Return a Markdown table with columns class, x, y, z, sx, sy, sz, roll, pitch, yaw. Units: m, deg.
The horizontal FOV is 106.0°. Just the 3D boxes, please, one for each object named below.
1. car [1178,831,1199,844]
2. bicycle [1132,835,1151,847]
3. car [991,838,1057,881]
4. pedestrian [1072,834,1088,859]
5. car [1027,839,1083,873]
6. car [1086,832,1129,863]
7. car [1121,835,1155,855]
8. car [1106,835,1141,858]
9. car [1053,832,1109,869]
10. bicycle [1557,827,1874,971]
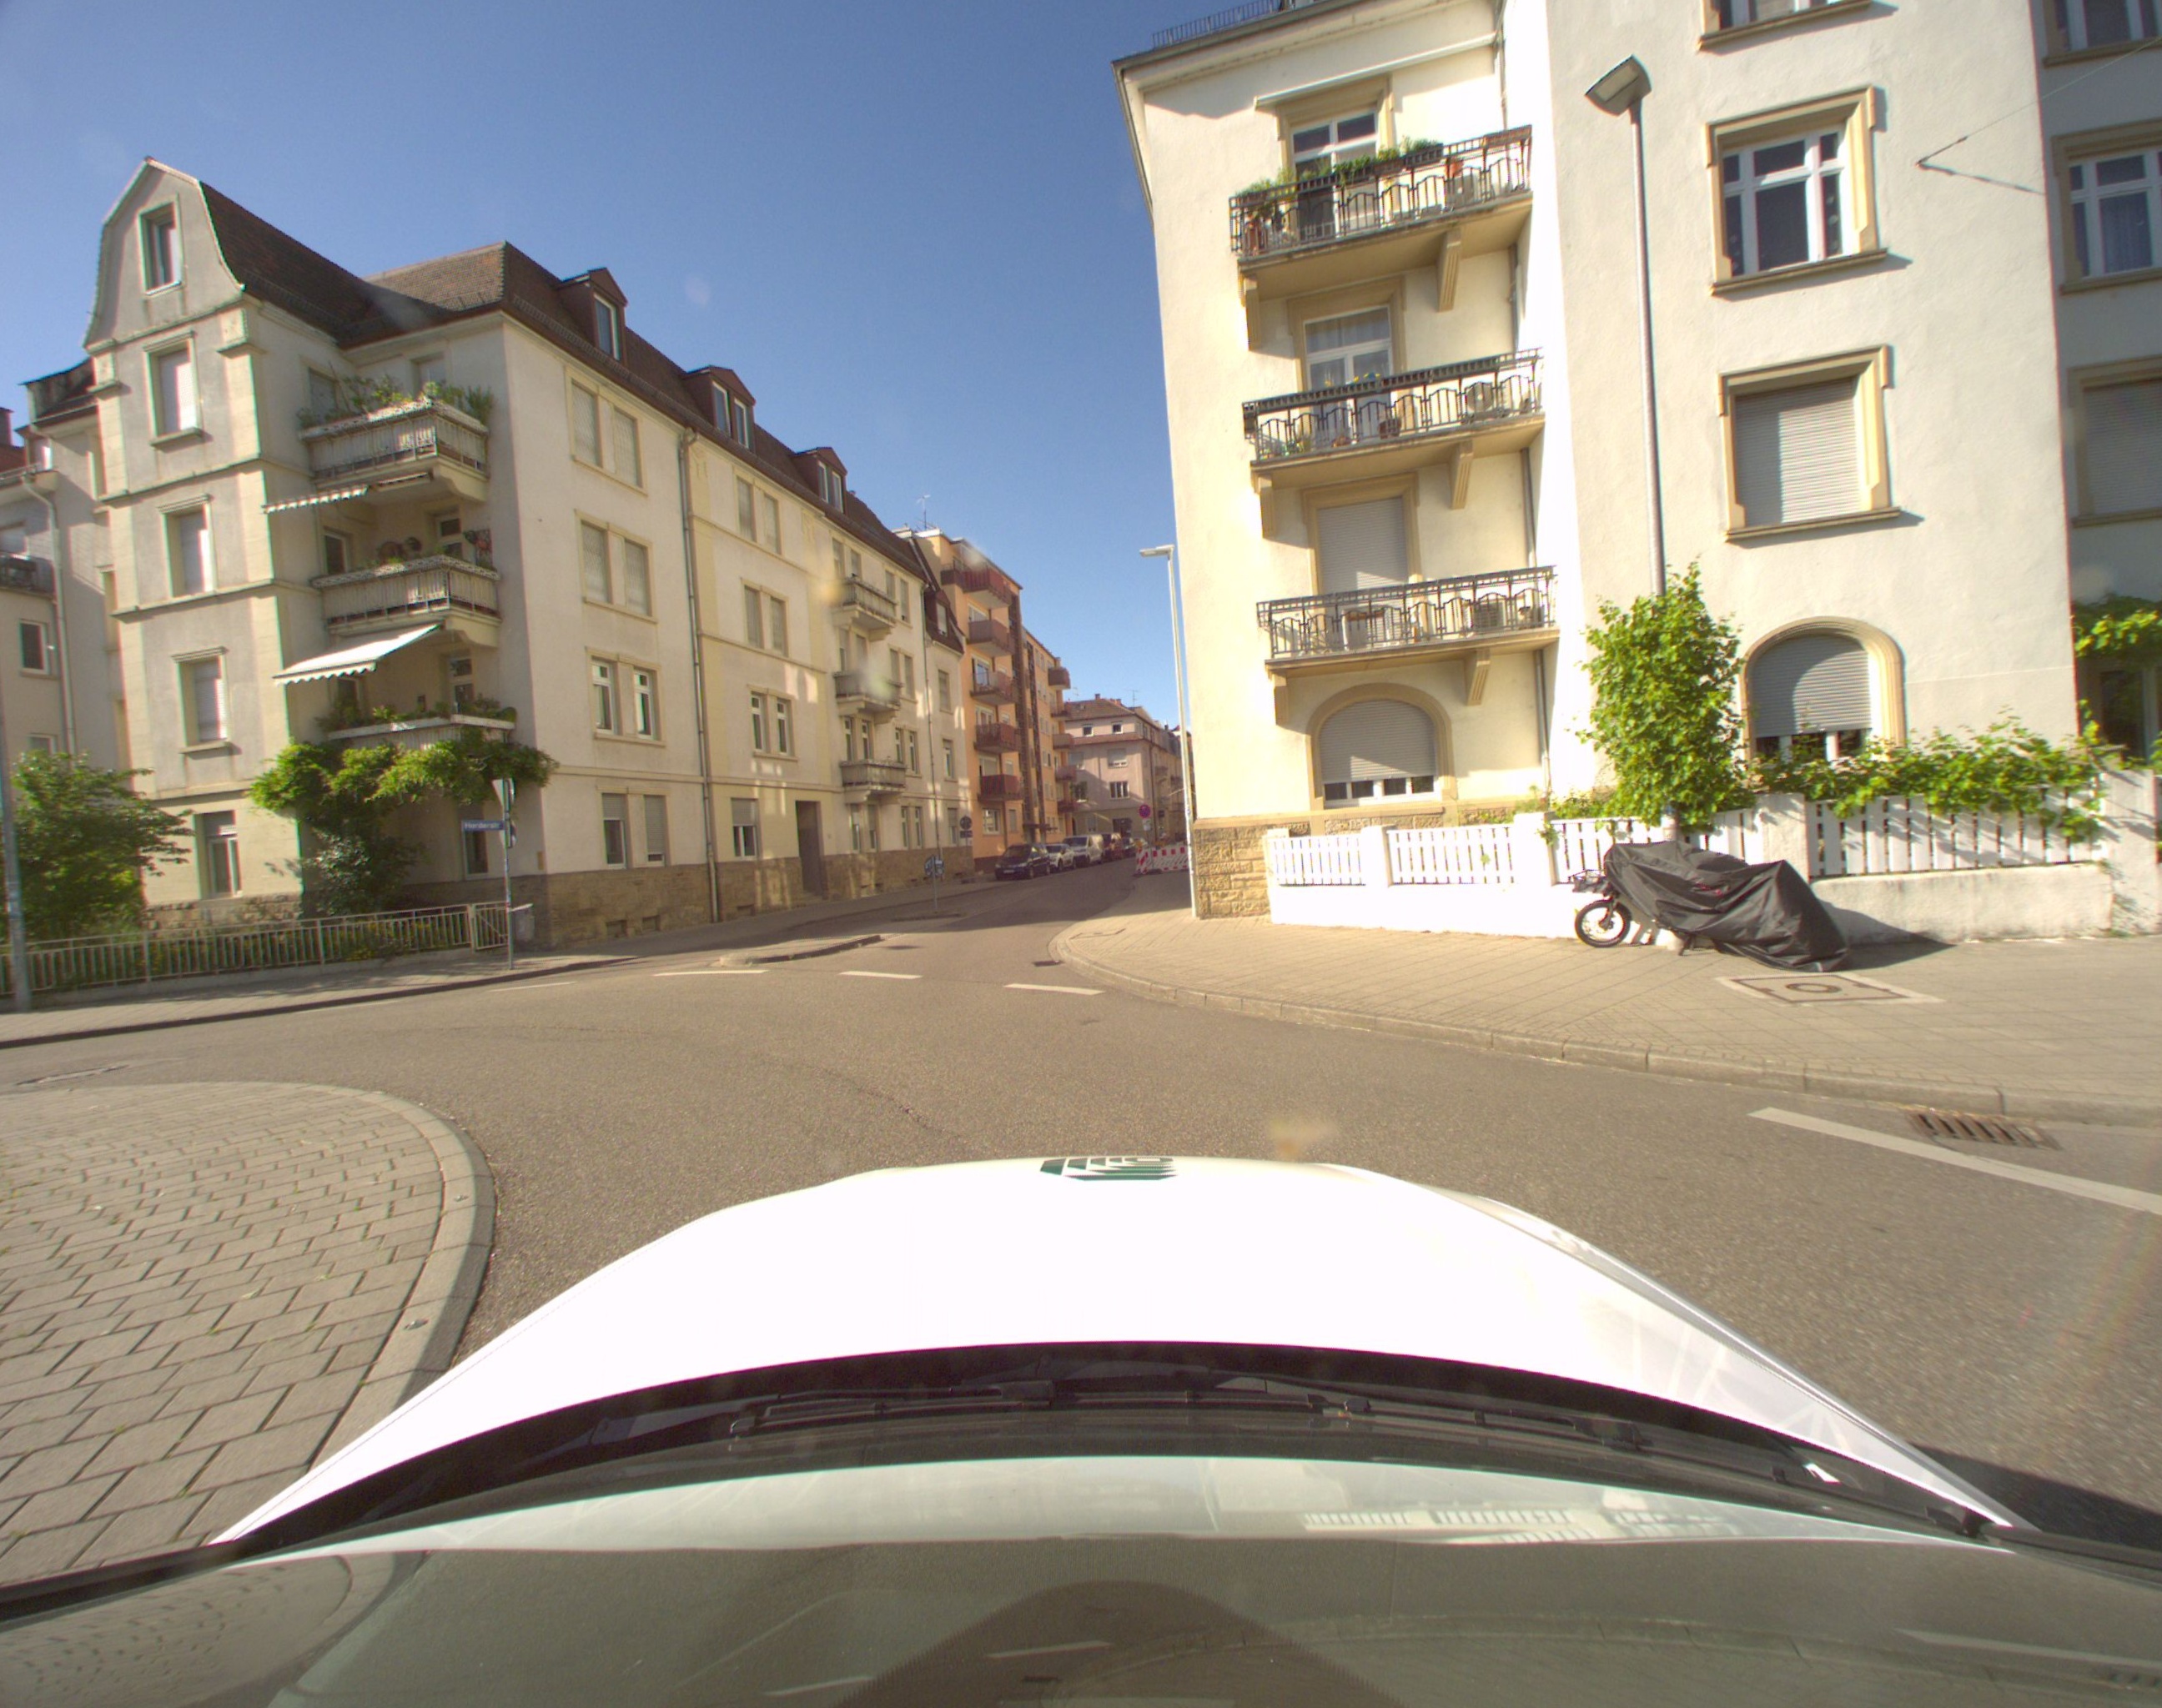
| class | x | y | z | sx | sy | sz | roll | pitch | yaw |
| --- | --- | --- | --- | --- | --- | --- | --- | --- | --- |
| car | 12.257 | -1.862 | 92.525 | 1.666 | 1.426 | 4.293 | -1 | 1 | 17 |
| bicycle | 6.527 | -1.409 | 88.115 | 1.887 | 1.135 | 0.650 | -3 | 3 | 8 |
| car | -2.647 | 0.203 | 38.837 | 1.749 | 1.770 | 4.312 | -3 | 1 | 15 |
| pedestrian | -0.080 | -0.583 | 63.443 | 0.917 | 1.817 | 0.998 | -3 | 1 | 12 |
| car | -1.349 | 0.073 | 44.138 | 1.749 | 1.620 | 4.313 | -3 | 1 | 15 |
| car | 1.872 | -0.483 | 55.391 | 1.749 | 1.925 | 4.956 | -3 | 1 | 15 |
| car | 4.645 | -0.745 | 66.008 | 1.749 | 1.377 | 4.498 | -3 | 1 | 16 |
| car | 3.228 | -0.577 | 60.676 | 1.750 | 1.502 | 4.016 | -4 | 1 | 14 |
| car | 0.084 | -0.256 | 49.144 | 1.961 | 1.925 | 5.332 | -3 | 1 | 15 |
| bicycle | 6.004 | 0.381 | 7.888 | 0.769 | 1.157 | 2.263 | -4 | 1 | -32 |
